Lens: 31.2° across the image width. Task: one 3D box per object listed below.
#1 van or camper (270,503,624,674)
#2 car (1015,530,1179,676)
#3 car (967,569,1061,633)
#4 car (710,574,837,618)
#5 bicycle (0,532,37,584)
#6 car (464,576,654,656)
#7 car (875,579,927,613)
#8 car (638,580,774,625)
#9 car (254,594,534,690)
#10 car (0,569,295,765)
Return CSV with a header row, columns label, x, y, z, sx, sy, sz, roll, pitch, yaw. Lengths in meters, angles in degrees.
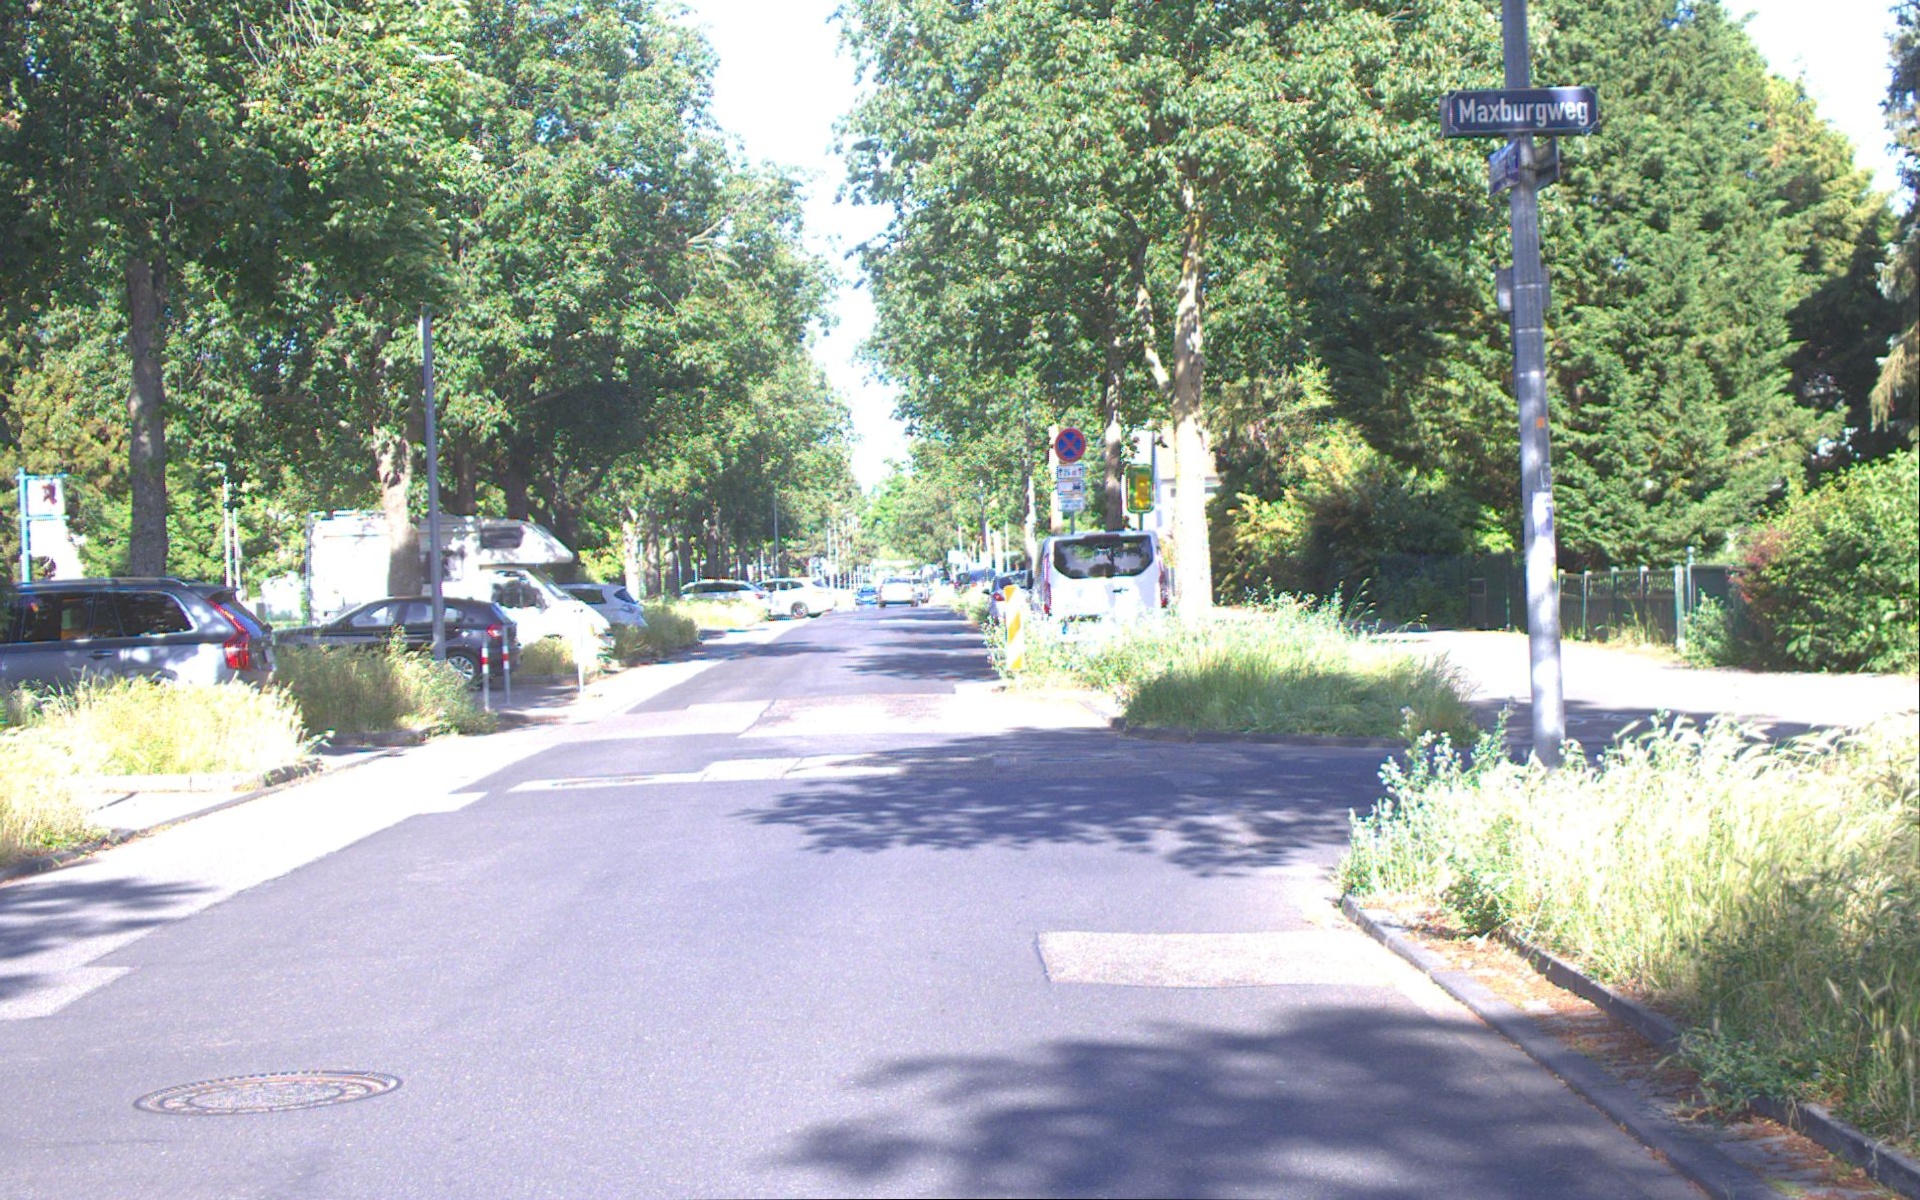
label,x,y,z,sx,sy,sz,roll,pitch,yaw
van or camper,-8.855,-0.194,59.655,5.776,2.795,2.000,1,0,1
car,1.970,0.049,50.881,1.993,2.007,5.196,1,0,-2
car,1.411,0.036,88.371,1.994,1.505,3.999,-3,-1,6
car,-6.729,-0.146,124.529,4.212,1.450,1.999,-2,0,10
bicycle,-22.260,-0.982,81.189,0.703,1.172,4.058,-2,1,-17
car,-8.884,0.341,76.389,3.986,1.655,1.967,-1,1,-2
car,-2.723,-0.194,157.723,1.993,1.503,3.659,1,0,-7
car,-9.042,0.086,122.661,4.671,1.498,2.000,-1,0,1
car,-8.673,0.634,52.837,3.987,1.445,1.639,0,0,3
car,-8.835,0.579,31.739,5.060,1.722,2.000,1,0,-4
